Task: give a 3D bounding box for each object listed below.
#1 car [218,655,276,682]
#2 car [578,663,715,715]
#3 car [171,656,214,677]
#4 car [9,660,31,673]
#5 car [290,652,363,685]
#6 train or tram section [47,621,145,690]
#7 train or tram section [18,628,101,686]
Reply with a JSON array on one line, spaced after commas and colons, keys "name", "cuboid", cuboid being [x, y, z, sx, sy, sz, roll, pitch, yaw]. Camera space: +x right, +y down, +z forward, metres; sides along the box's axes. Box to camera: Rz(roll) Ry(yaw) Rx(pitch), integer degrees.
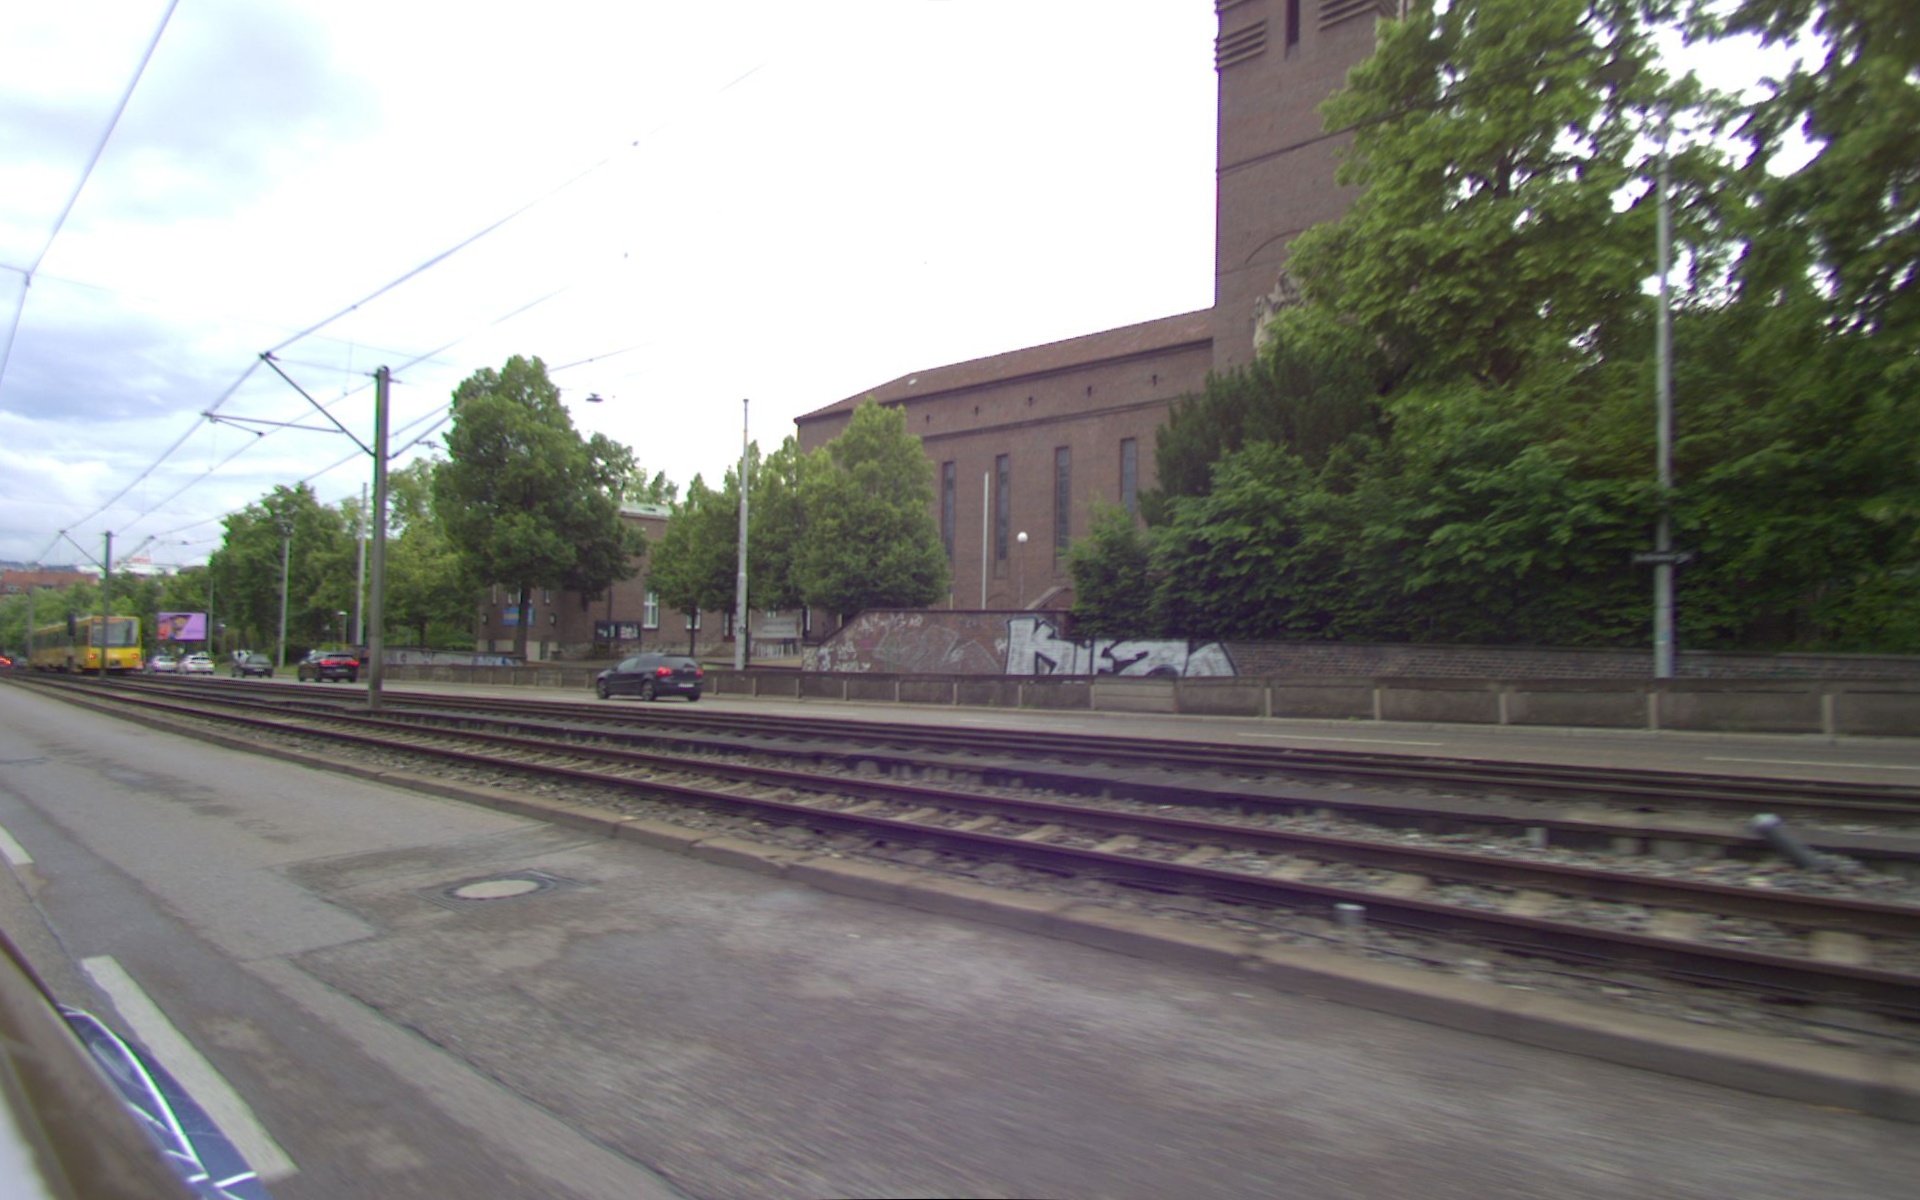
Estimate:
[{"name": "car", "cuboid": [-44.994, 4.315, 63.833, 4.410, 1.657, 1.972, -3, -5, 42]}, {"name": "car", "cuboid": [-9.599, 2.667, 30.850, 4.318, 1.452, 1.945, -2, -5, 40]}, {"name": "car", "cuboid": [-57.448, 4.956, 75.718, 3.983, 1.479, 1.728, -3, -7, 41]}, {"name": "car", "cuboid": [-118.104, 8.334, 127.096, 4.340, 1.650, 1.669, -3, -4, 43]}, {"name": "car", "cuboid": [-32.885, 3.546, 52.485, 4.522, 1.657, 1.972, -3, -5, 41]}, {"name": "train or tram section", "cuboid": [-56.448, 3.622, 65.835, 17.876, 4.006, 2.797, -3, -4, 43]}, {"name": "train or tram section", "cuboid": [-70.148, 4.451, 78.604, 20.025, 4.006, 2.797, -3, -4, 43]}]
